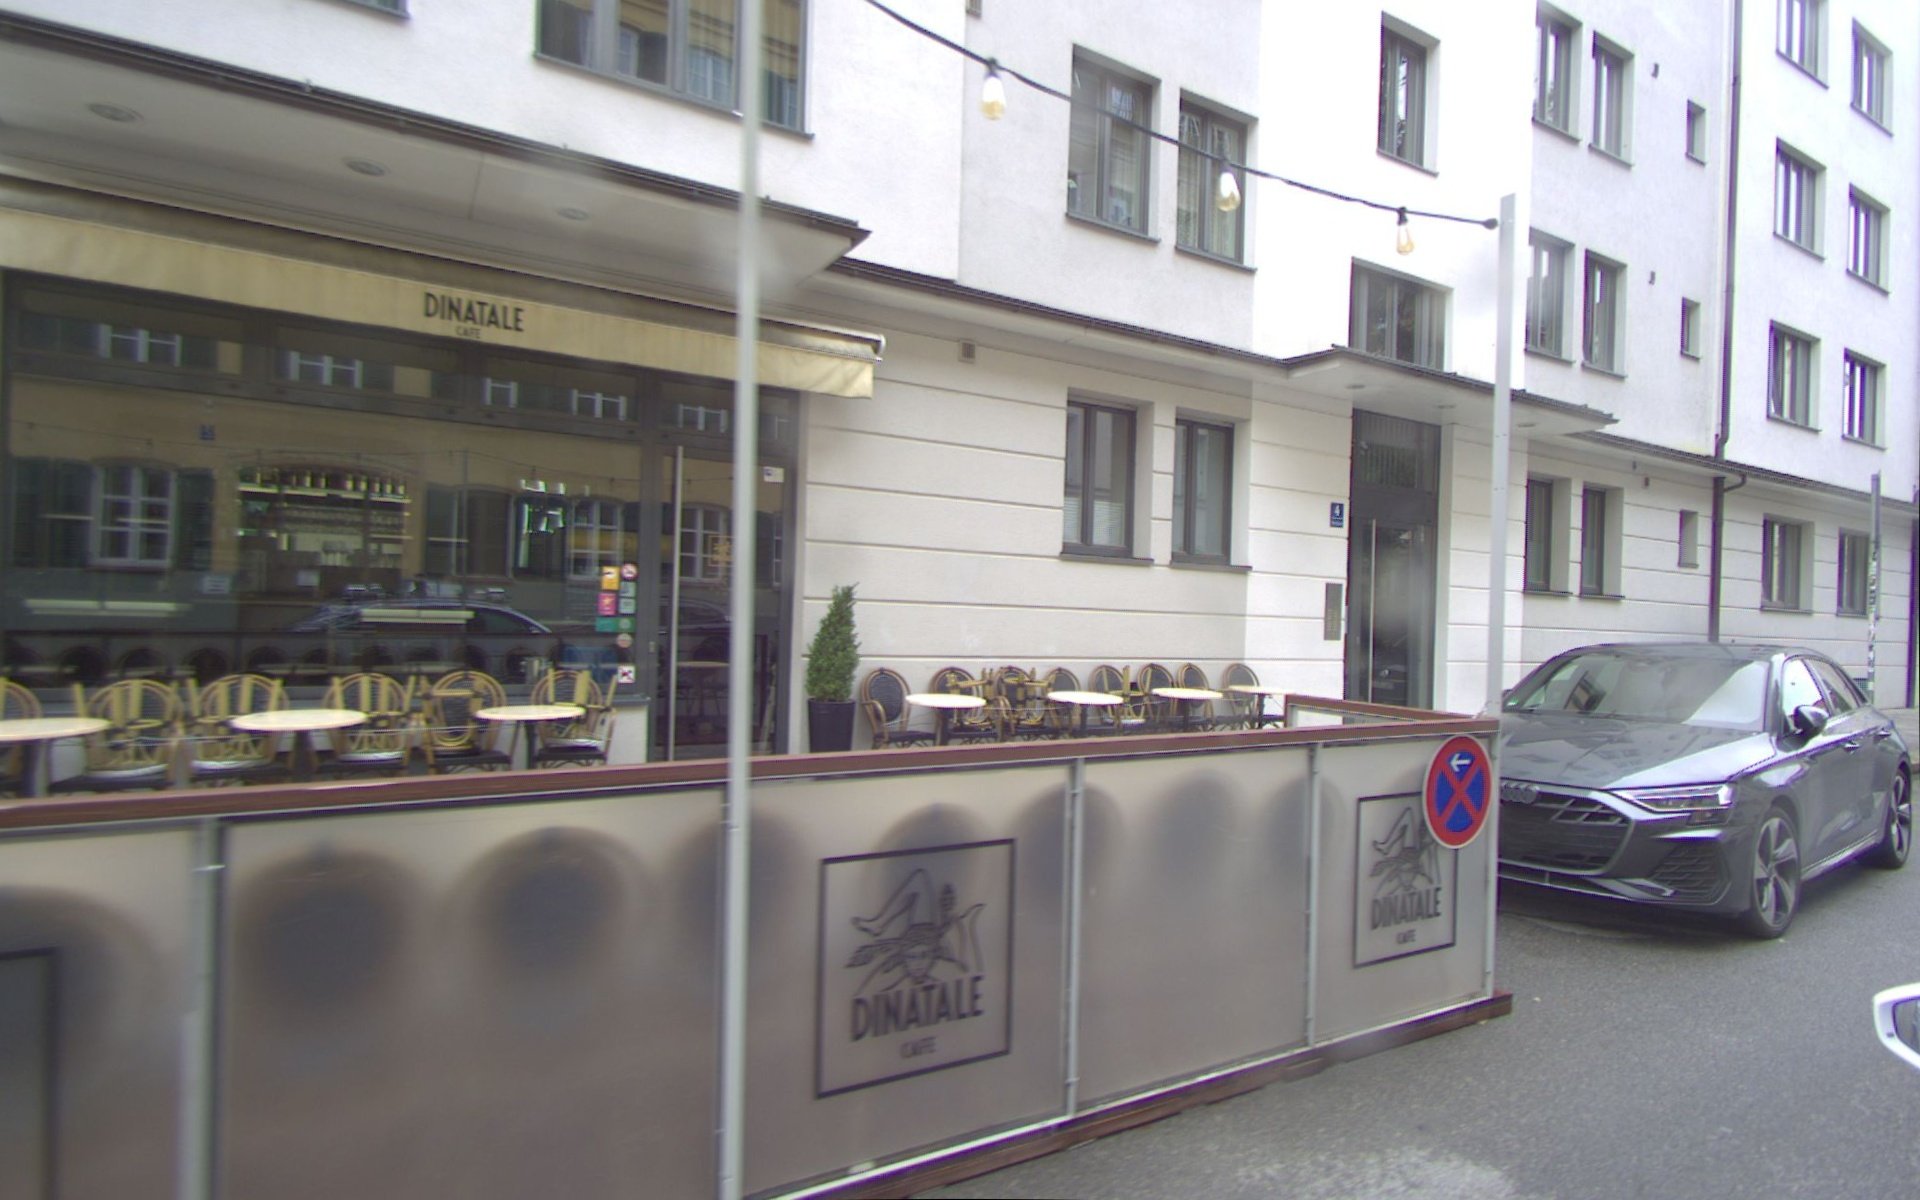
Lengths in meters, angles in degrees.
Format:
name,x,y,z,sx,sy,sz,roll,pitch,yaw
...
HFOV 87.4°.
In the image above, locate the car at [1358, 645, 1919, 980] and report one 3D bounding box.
name,x,y,z,sx,sy,sz,roll,pitch,yaw
car,4.298,0.979,6.114,4.020,1.372,1.627,1,-2,-37
